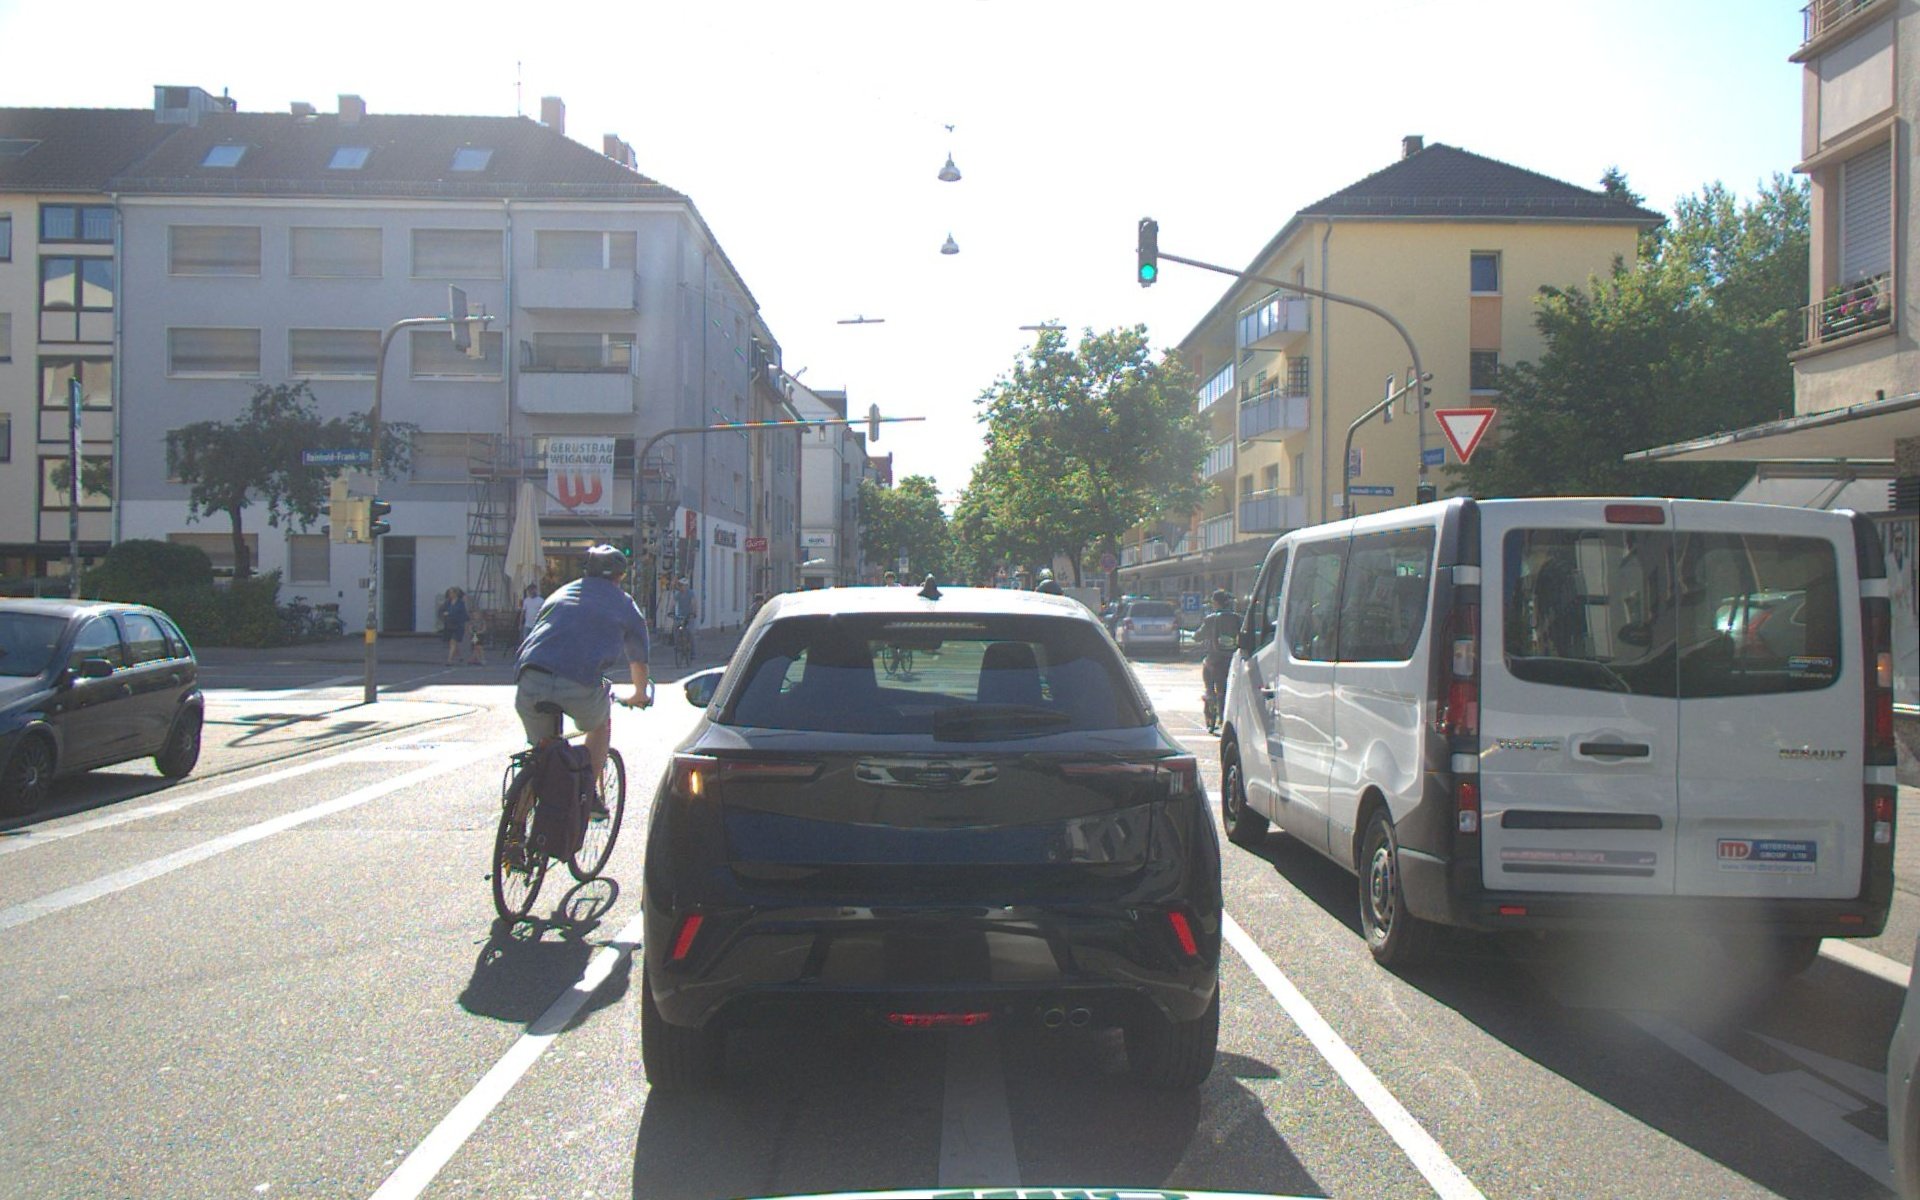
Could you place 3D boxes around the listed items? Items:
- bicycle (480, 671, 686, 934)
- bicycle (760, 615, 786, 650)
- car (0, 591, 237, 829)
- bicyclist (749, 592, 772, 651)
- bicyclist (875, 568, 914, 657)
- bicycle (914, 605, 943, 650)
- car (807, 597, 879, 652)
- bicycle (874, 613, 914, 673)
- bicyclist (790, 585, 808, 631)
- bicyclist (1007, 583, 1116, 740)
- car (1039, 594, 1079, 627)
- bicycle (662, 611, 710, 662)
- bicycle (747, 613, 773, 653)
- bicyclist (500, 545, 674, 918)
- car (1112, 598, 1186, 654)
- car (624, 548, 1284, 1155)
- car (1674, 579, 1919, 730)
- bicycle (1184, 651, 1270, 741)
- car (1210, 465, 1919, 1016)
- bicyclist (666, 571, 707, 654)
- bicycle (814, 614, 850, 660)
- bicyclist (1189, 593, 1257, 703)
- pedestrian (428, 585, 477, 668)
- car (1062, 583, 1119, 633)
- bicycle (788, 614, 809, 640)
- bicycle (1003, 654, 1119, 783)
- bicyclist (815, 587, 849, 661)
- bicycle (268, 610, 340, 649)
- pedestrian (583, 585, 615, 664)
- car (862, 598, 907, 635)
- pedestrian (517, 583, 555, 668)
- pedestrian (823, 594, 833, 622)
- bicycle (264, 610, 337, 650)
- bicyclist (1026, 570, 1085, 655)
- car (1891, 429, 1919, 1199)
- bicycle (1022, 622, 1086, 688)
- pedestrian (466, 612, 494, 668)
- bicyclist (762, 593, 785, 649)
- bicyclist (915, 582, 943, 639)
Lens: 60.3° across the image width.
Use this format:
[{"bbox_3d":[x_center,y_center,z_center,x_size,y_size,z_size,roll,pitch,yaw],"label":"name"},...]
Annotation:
[{"bbox_3d":[-1.793,0.920,8.110,0.619,1.059,1.795,0,0,-1],"label":"bicycle"},{"bbox_3d":[-5.198,0.895,46.132,0.531,0.918,1.826,0,0,-1],"label":"bicycle"},{"bbox_3d":[-7.095,0.706,12.451,1.657,1.473,3.855,2,0,-2],"label":"car"},{"bbox_3d":[-4.848,0.518,40.192,0.532,1.415,0.788,0,0,-5],"label":"bicyclist"},{"bbox_3d":[-1.230,0.236,31.285,0.702,1.648,0.946,0,0,-1],"label":"bicyclist"},{"bbox_3d":[-0.926,0.805,48.959,0.785,1.277,2.139,0,0,0],"label":"bicycle"},{"bbox_3d":[-3.229,0.647,46.218,1.800,1.459,4.175,0,0,-1],"label":"car"},{"bbox_3d":[-1.231,0.794,31.325,0.702,1.082,1.872,0,0,-1],"label":"bicycle"},{"bbox_3d":[-5.573,0.284,57.164,0.542,1.576,0.814,1,0,-2],"label":"bicyclist"},{"bbox_3d":[0.902,0.534,15.024,0.839,1.337,1.210,2,0,-1],"label":"bicyclist"},{"bbox_3d":[4.656,0.467,78.226,1.677,1.509,3.380,0,0,0],"label":"car"},{"bbox_3d":[-5.610,0.733,33.937,0.666,0.969,1.933,-1,0,-1],"label":"bicycle"},{"bbox_3d":[-4.849,0.781,40.117,0.532,0.918,1.824,0,0,-5],"label":"bicycle"},{"bbox_3d":[-1.794,0.596,8.080,0.619,1.698,1.050,0,0,-1],"label":"bicyclist"},{"bbox_3d":[5.346,0.705,47.068,1.677,1.509,3.480,0,0,0],"label":"car"},{"bbox_3d":[-0.040,0.665,6.344,1.726,1.586,3.999,0,0,-1],"label":"car"},{"bbox_3d":[10.794,0.616,19.592,3.905,1.691,1.825,0,0,-1],"label":"car"},{"bbox_3d":[2.963,1.048,18.534,0.677,0.881,1.876,0,0,0],"label":"bicycle"},{"bbox_3d":[2.704,0.525,8.604,1.928,1.974,5.054,2,0,-1],"label":"car"},{"bbox_3d":[-5.619,0.254,33.991,0.666,1.659,0.899,-1,0,-1],"label":"bicyclist"},{"bbox_3d":[-2.844,0.806,36.931,0.666,0.969,1.933,-1,0,-1],"label":"bicycle"},{"bbox_3d":[2.963,0.533,18.657,0.677,1.214,0.595,0,0,0],"label":"bicyclist"},{"bbox_3d":[-10.699,0.544,34.890,0.561,1.712,0.969,0,0,14],"label":"pedestrian"},{"bbox_3d":[5.102,0.296,65.055,2.003,1.879,4.585,0,0,1],"label":"car"},{"bbox_3d":[-5.574,0.925,57.120,0.542,0.848,2.131,1,0,-2],"label":"bicycle"},{"bbox_3d":[0.879,1.028,15.004,0.839,0.961,2.307,2,0,-1],"label":"bicycle"},{"bbox_3d":[-2.846,0.525,36.940,0.666,1.604,0.899,-1,0,-1],"label":"bicyclist"},{"bbox_3d":[-16.054,0.721,40.486,1.556,0.956,0.512,0,0,1],"label":"bicycle"},{"bbox_3d":[-7.431,0.493,34.073,0.520,1.609,0.563,0,0,1],"label":"pedestrian"},{"bbox_3d":[-3.115,0.650,68.161,1.769,1.437,4.423,-1,0,-3],"label":"car"},{"bbox_3d":[-8.726,0.517,34.066,0.561,1.718,0.670,0,0,6],"label":"pedestrian"},{"bbox_3d":[-7.693,0.445,96.466,0.566,1.610,0.707,0,0,-6],"label":"pedestrian"},{"bbox_3d":[-15.892,0.712,39.876,1.556,0.956,0.512,0,0,1],"label":"bicycle"},{"bbox_3d":[1.559,0.198,27.236,0.839,1.337,1.210,2,0,-1],"label":"bicyclist"},{"bbox_3d":[3.045,0.563,1.184,1.928,1.842,4.831,0,0,-2],"label":"car"},{"bbox_3d":[1.523,0.885,27.152,0.839,0.961,2.307,2,0,-1],"label":"bicycle"},{"bbox_3d":[-10.125,0.836,34.863,0.377,1.166,0.532,0,0,7],"label":"pedestrian"},{"bbox_3d":[-5.195,0.585,46.094,0.531,1.547,0.774,0,0,-1],"label":"bicyclist"},{"bbox_3d":[-0.913,0.298,48.844,0.785,1.678,1.125,0,0,0],"label":"bicyclist"}]
